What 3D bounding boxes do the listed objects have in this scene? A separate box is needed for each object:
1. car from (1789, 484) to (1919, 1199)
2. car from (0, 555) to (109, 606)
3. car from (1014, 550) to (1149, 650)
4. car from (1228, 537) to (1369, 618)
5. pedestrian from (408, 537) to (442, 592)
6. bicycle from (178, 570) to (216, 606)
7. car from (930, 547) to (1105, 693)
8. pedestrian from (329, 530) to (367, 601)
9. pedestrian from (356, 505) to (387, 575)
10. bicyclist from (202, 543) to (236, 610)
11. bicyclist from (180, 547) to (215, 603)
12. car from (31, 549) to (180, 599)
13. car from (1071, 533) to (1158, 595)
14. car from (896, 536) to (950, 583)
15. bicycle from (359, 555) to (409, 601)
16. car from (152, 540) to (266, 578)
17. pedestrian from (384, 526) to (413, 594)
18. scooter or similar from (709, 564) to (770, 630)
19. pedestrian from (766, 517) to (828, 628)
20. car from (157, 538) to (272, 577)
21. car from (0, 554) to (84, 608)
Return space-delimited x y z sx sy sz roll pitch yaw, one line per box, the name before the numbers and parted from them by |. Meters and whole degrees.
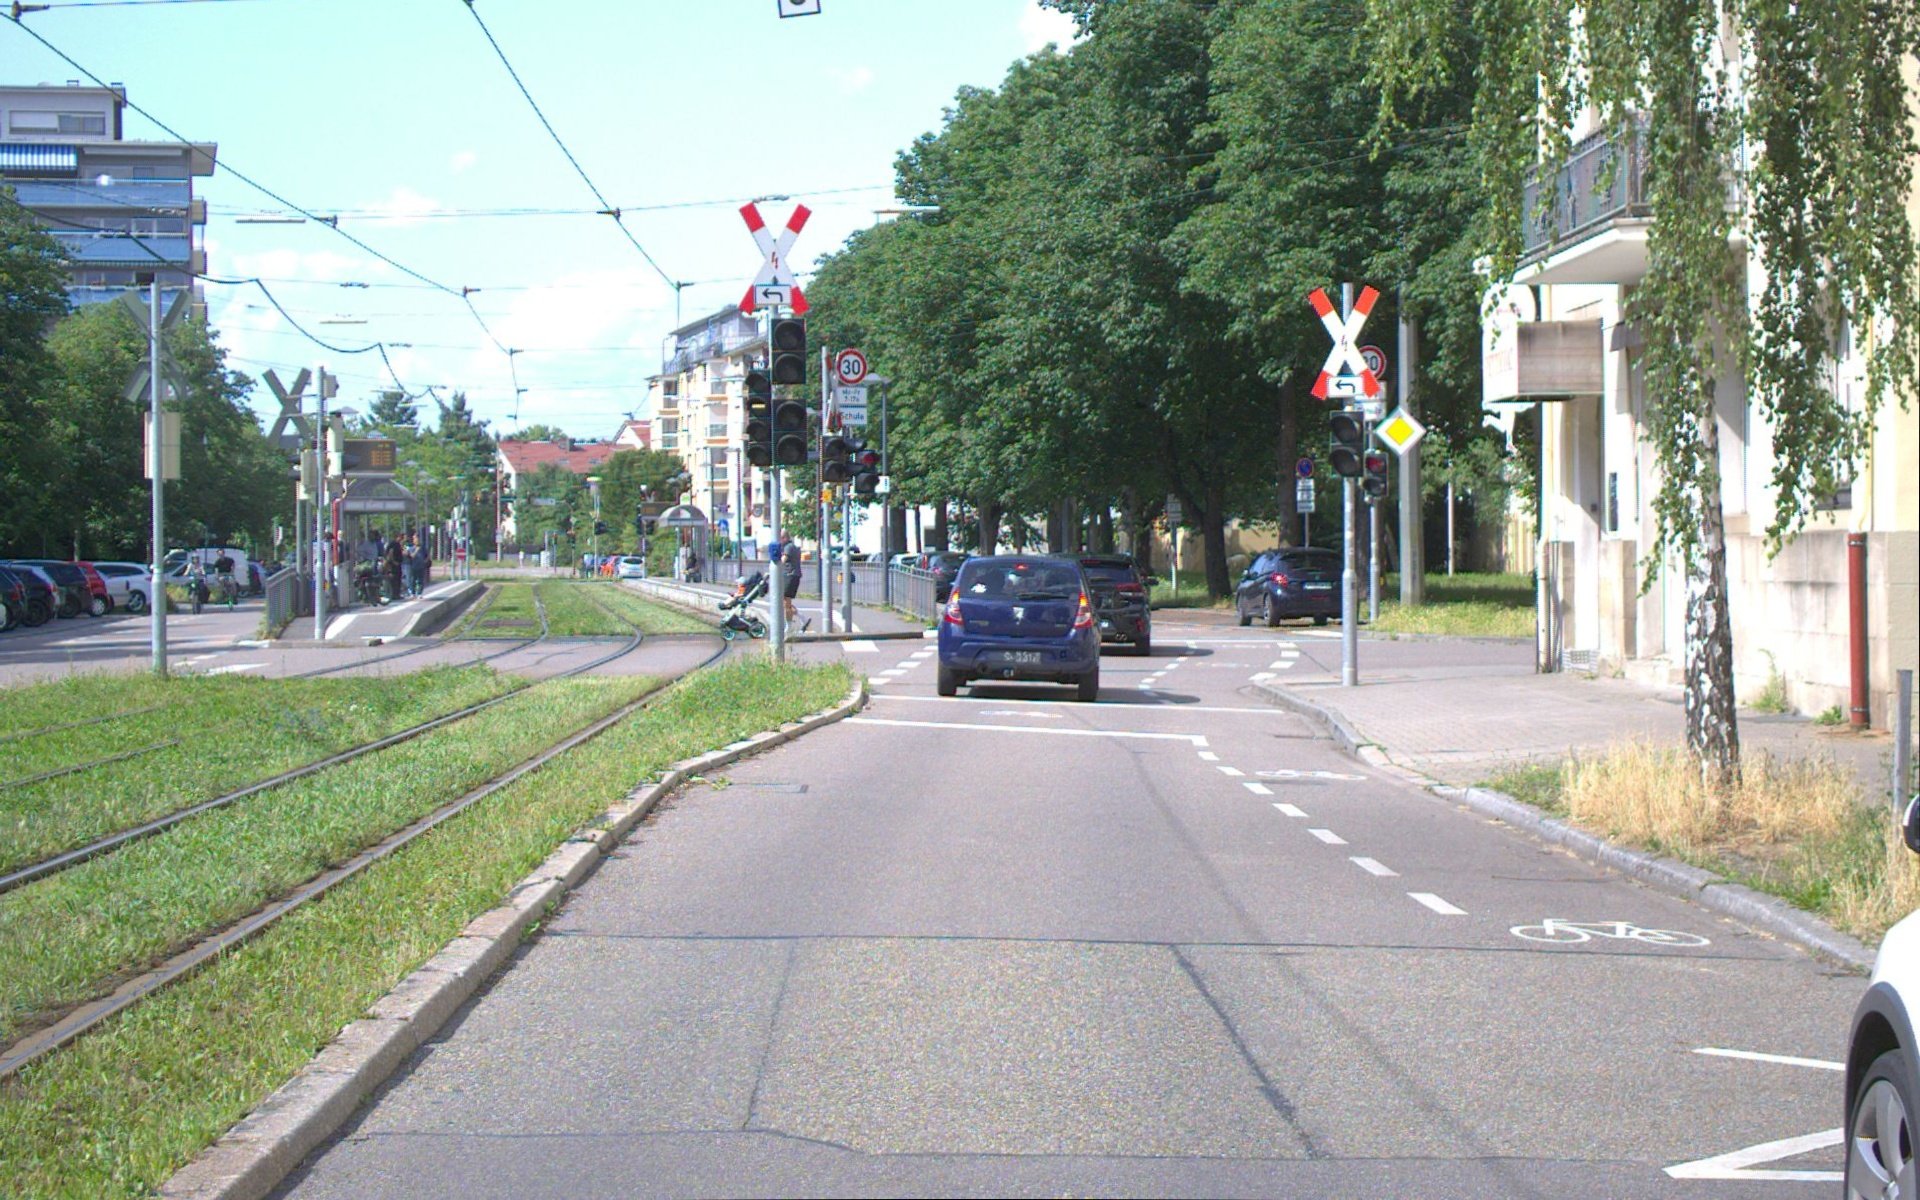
car | 2.516 0.650 5.044 1.721 1.624 4.000 2 1 2
car | -24.596 -0.531 92.139 1.455 1.305 3.239 0 1 38
car | 1.734 -0.027 50.077 1.700 1.363 3.515 1 1 -2
car | 6.282 -0.434 64.138 1.765 1.428 3.905 -1 1 -7
pedestrian | -13.961 -0.918 89.693 0.655 1.421 0.562 -1 1 31
bicycle | -21.565 -0.337 97.174 0.680 0.967 2.179 -1 1 -3
car | 0.618 0.178 37.189 1.768 1.457 3.775 1 1 1
pedestrian | -13.767 -0.778 77.355 0.663 1.564 0.686 -2 1 2
pedestrian | -14.371 -1.466 83.947 0.655 1.686 0.656 -1 1 -6
bicyclist | -22.518 -0.716 104.464 0.947 2.007 1.576 0 0 -15
bicyclist | -21.530 -0.707 97.110 0.785 1.576 0.864 -1 1 -3
car | -25.367 -0.784 102.130 1.715 1.363 3.990 0 1 43
car | 3.781 -0.907 84.729 1.861 1.440 4.000 -2 1 -1
car | -1.397 -1.520 127.934 1.617 1.744 4.001 -1 1 -6
bicycle | -12.939 -0.508 77.272 0.686 0.971 1.771 -3 1 4
car | -27.770 -1.526 127.195 1.638 1.381 3.991 0 1 39
pedestrian | -14.527 -1.034 88.926 0.604 1.760 0.639 0 1 3
scooter or similar | -3.615 -0.056 56.347 0.954 1.061 0.797 -1 1 -7
pedestrian | -2.692 -0.459 56.705 0.870 1.769 1.004 -3 1 -6
car | -28.708 -1.648 132.384 3.989 1.442 1.727 -1 1 -41
car | -23.675 -0.475 85.945 1.455 1.305 3.239 0 1 38
